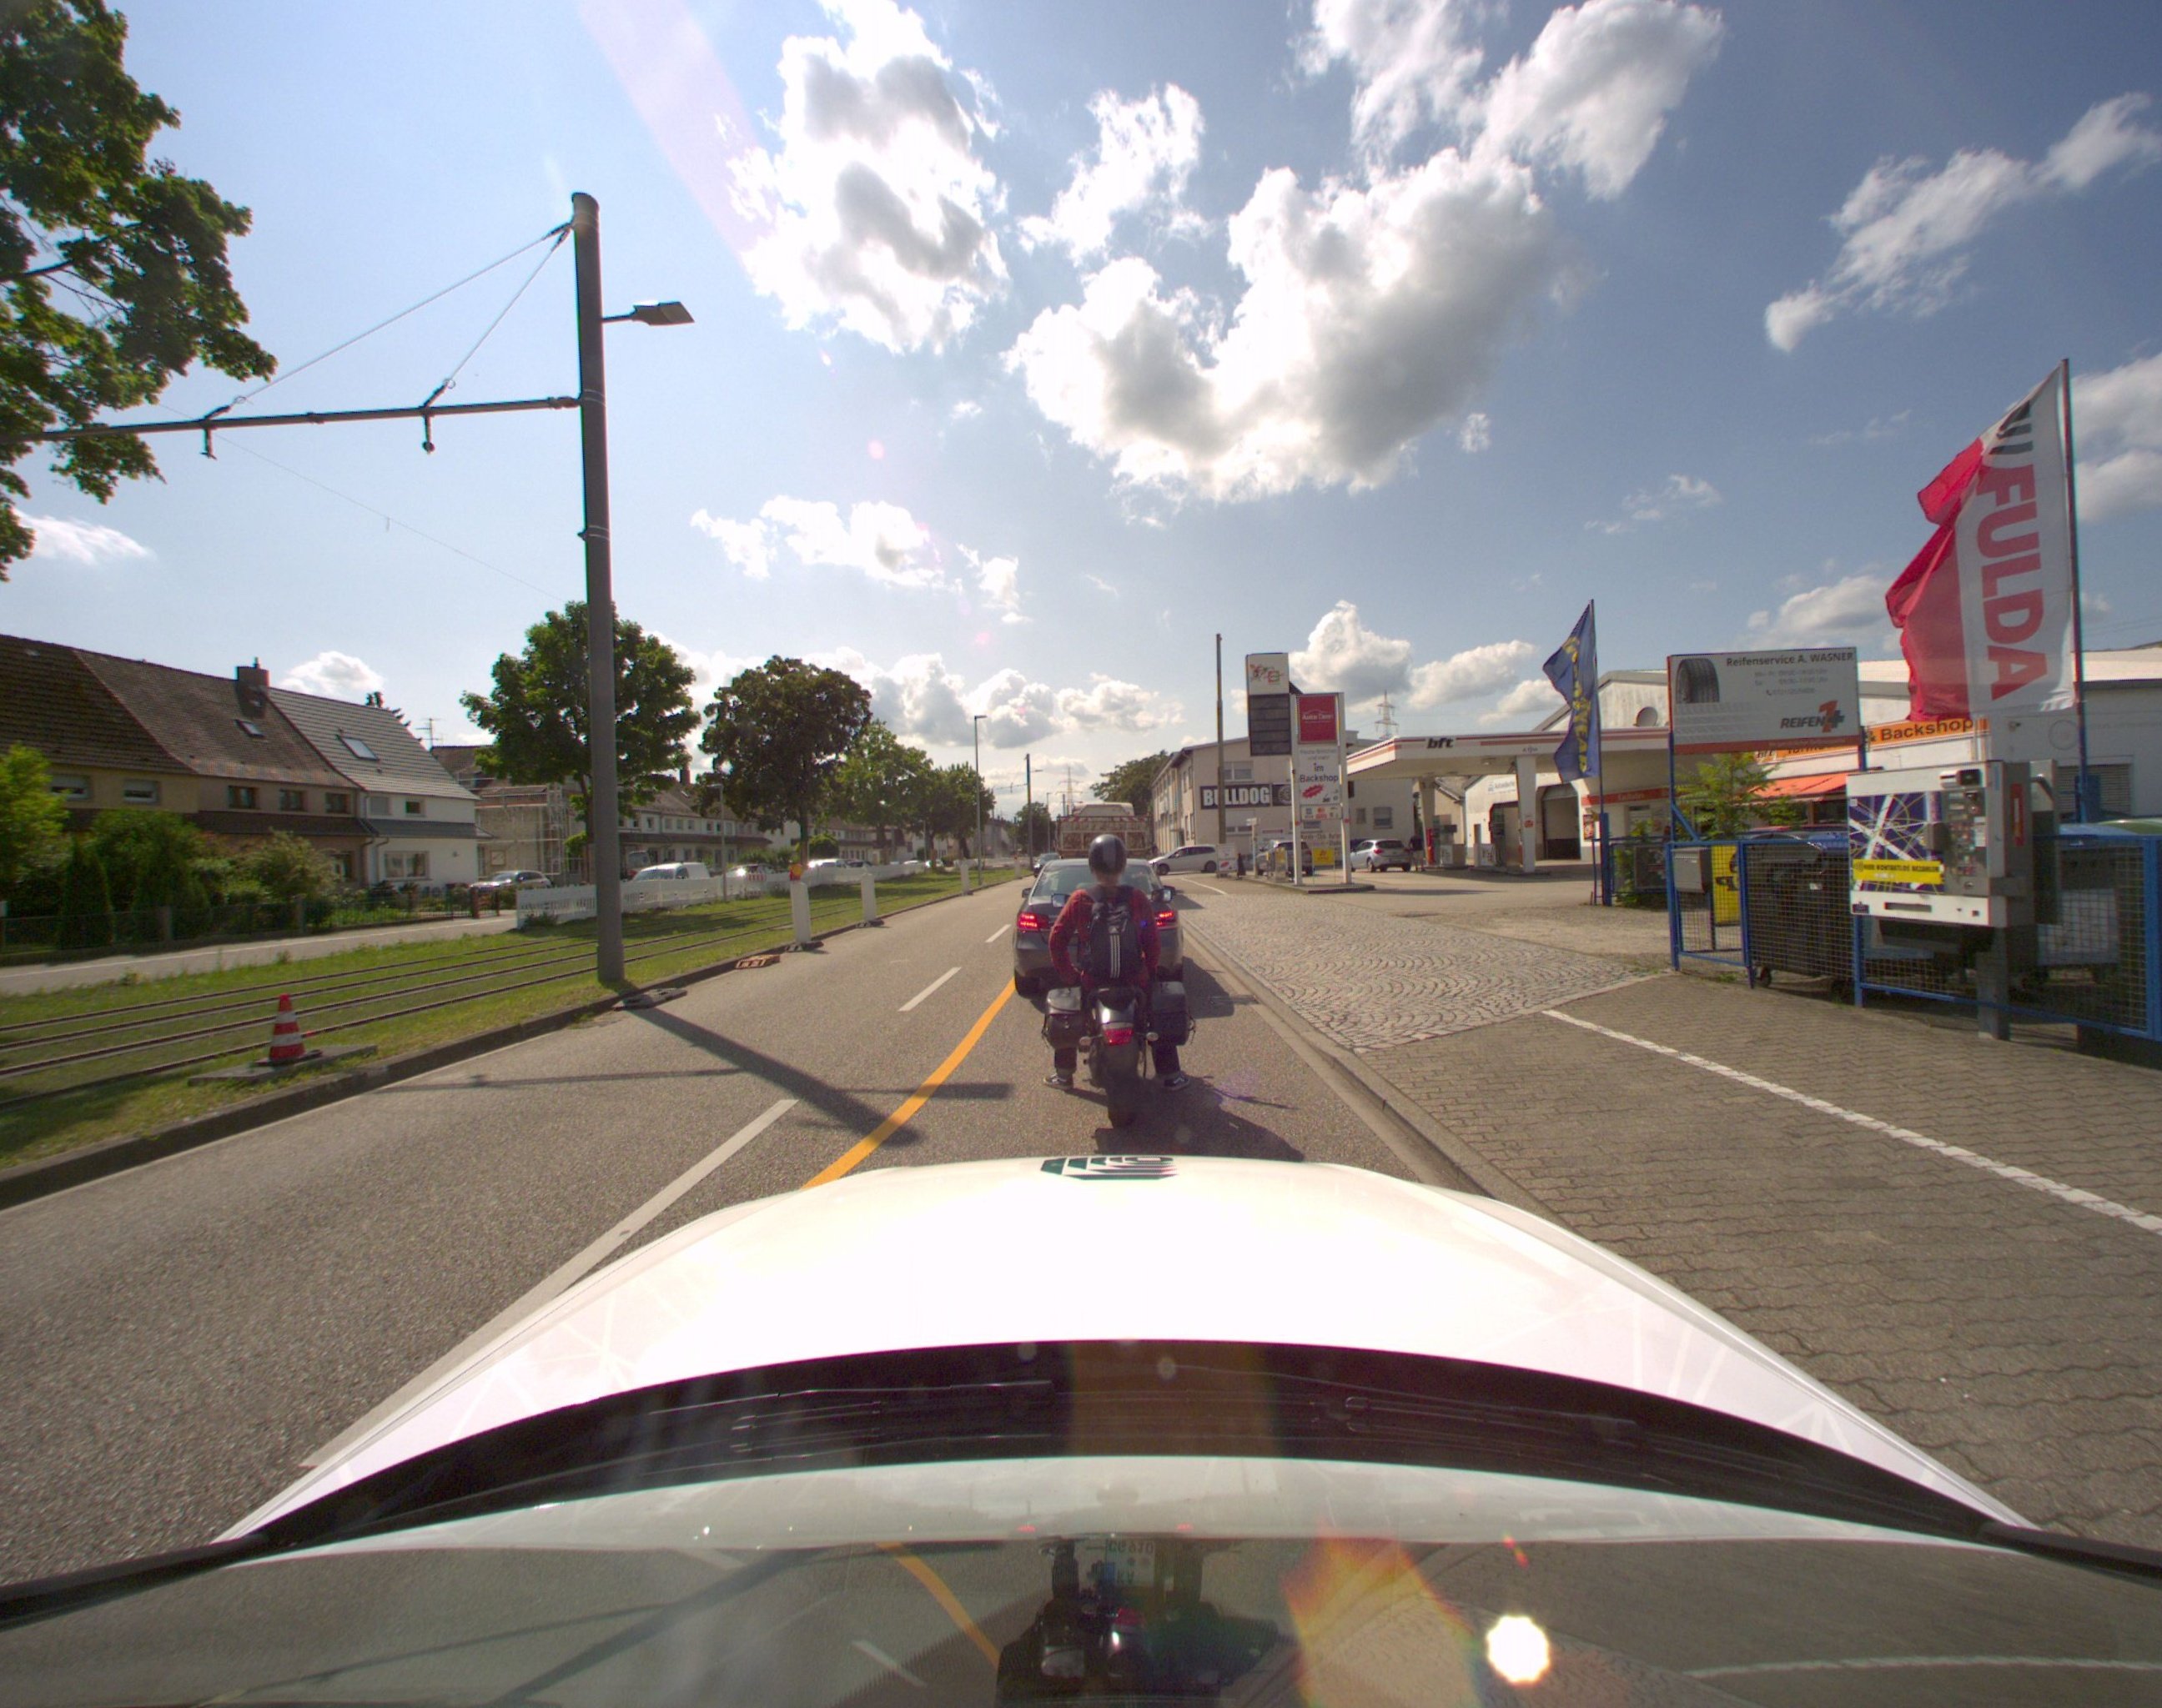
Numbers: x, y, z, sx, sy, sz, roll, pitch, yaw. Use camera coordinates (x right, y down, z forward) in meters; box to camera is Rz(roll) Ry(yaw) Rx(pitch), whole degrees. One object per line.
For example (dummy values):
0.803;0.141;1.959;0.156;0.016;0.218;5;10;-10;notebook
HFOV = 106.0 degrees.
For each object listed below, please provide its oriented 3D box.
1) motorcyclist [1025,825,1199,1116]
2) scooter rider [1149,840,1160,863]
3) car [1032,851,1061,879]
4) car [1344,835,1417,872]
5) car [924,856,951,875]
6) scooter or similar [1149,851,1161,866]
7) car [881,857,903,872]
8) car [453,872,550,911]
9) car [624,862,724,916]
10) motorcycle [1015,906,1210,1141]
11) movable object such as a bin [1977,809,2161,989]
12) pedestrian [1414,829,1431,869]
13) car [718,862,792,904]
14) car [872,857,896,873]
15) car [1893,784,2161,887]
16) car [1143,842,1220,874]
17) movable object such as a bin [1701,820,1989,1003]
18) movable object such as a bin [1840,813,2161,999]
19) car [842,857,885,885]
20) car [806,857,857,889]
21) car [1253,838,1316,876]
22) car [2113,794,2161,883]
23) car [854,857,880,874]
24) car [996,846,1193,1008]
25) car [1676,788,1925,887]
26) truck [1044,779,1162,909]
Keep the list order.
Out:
0.194;0.654;5.205;0.966;1.633;1.215;-1;0;1;motorcyclist
6.018;-0.179;66.462;0.792;1.818;0.508;-2;0;1;scooter rider
-2.169;0.664;52.062;1.675;1.624;4.118;-2;0;0;car
13.538;-0.025;37.078;1.826;1.479;4.009;-3;0;1;car
-14.133;1.147;80.315;1.692;1.739;3.862;-2;0;2;car
6.039;0.344;66.450;0.792;1.144;1.520;-2;0;2;scooter or similar
-24.377;1.341;105.375;1.692;1.739;4.064;-2;0;2;car
-27.479;1.731;38.803;1.692;1.593;3.862;-2;0;2;car
-15.418;1.278;31.066;1.692;1.817;3.862;-2;0;2;car
0.195;0.932;5.323;0.972;1.013;2.433;-1;0;2;motorcycle
9.449;0.335;7.200;1.425;1.454;1.455;-2;0;0;movable object such as a bin
14.842;-0.211;35.398;0.628;1.683;0.626;-2;0;23;pedestrian
-15.325;1.324;38.497;1.692;1.739;4.056;-2;0;2;car
-24.048;1.333;99.352;1.692;1.739;4.064;-2;0;2;car
21.249;-0.402;18.279;3.972;2.013;2.001;-2;0;1;car
5.766;0.226;47.059;4.101;1.624;1.682;-3;0;-7;car
6.824;0.470;7.414;1.222;1.454;1.455;-2;0;0;movable object such as a bin
8.103;0.416;7.290;1.222;1.454;1.455;-2;0;0;movable object such as a bin
-14.867;1.139;55.768;1.692;1.739;3.862;-2;0;2;car
-15.091;1.111;49.402;1.692;1.739;3.862;-2;0;2;car
9.068;0.120;36.586;1.826;1.536;4.009;-3;0;1;car
26.352;-0.435;18.194;3.972;2.013;2.001;-2;0;1;car
-24.464;1.299;93.149;1.692;1.739;4.064;-2;0;2;car
0.158;0.693;9.828;1.826;1.479;4.009;-3;0;1;car
16.601;-0.372;18.971;3.972;2.013;2.001;-2;0;1;car
0.642;-0.282;25.614;2.960;3.304;8.407;-2;0;1;truck
